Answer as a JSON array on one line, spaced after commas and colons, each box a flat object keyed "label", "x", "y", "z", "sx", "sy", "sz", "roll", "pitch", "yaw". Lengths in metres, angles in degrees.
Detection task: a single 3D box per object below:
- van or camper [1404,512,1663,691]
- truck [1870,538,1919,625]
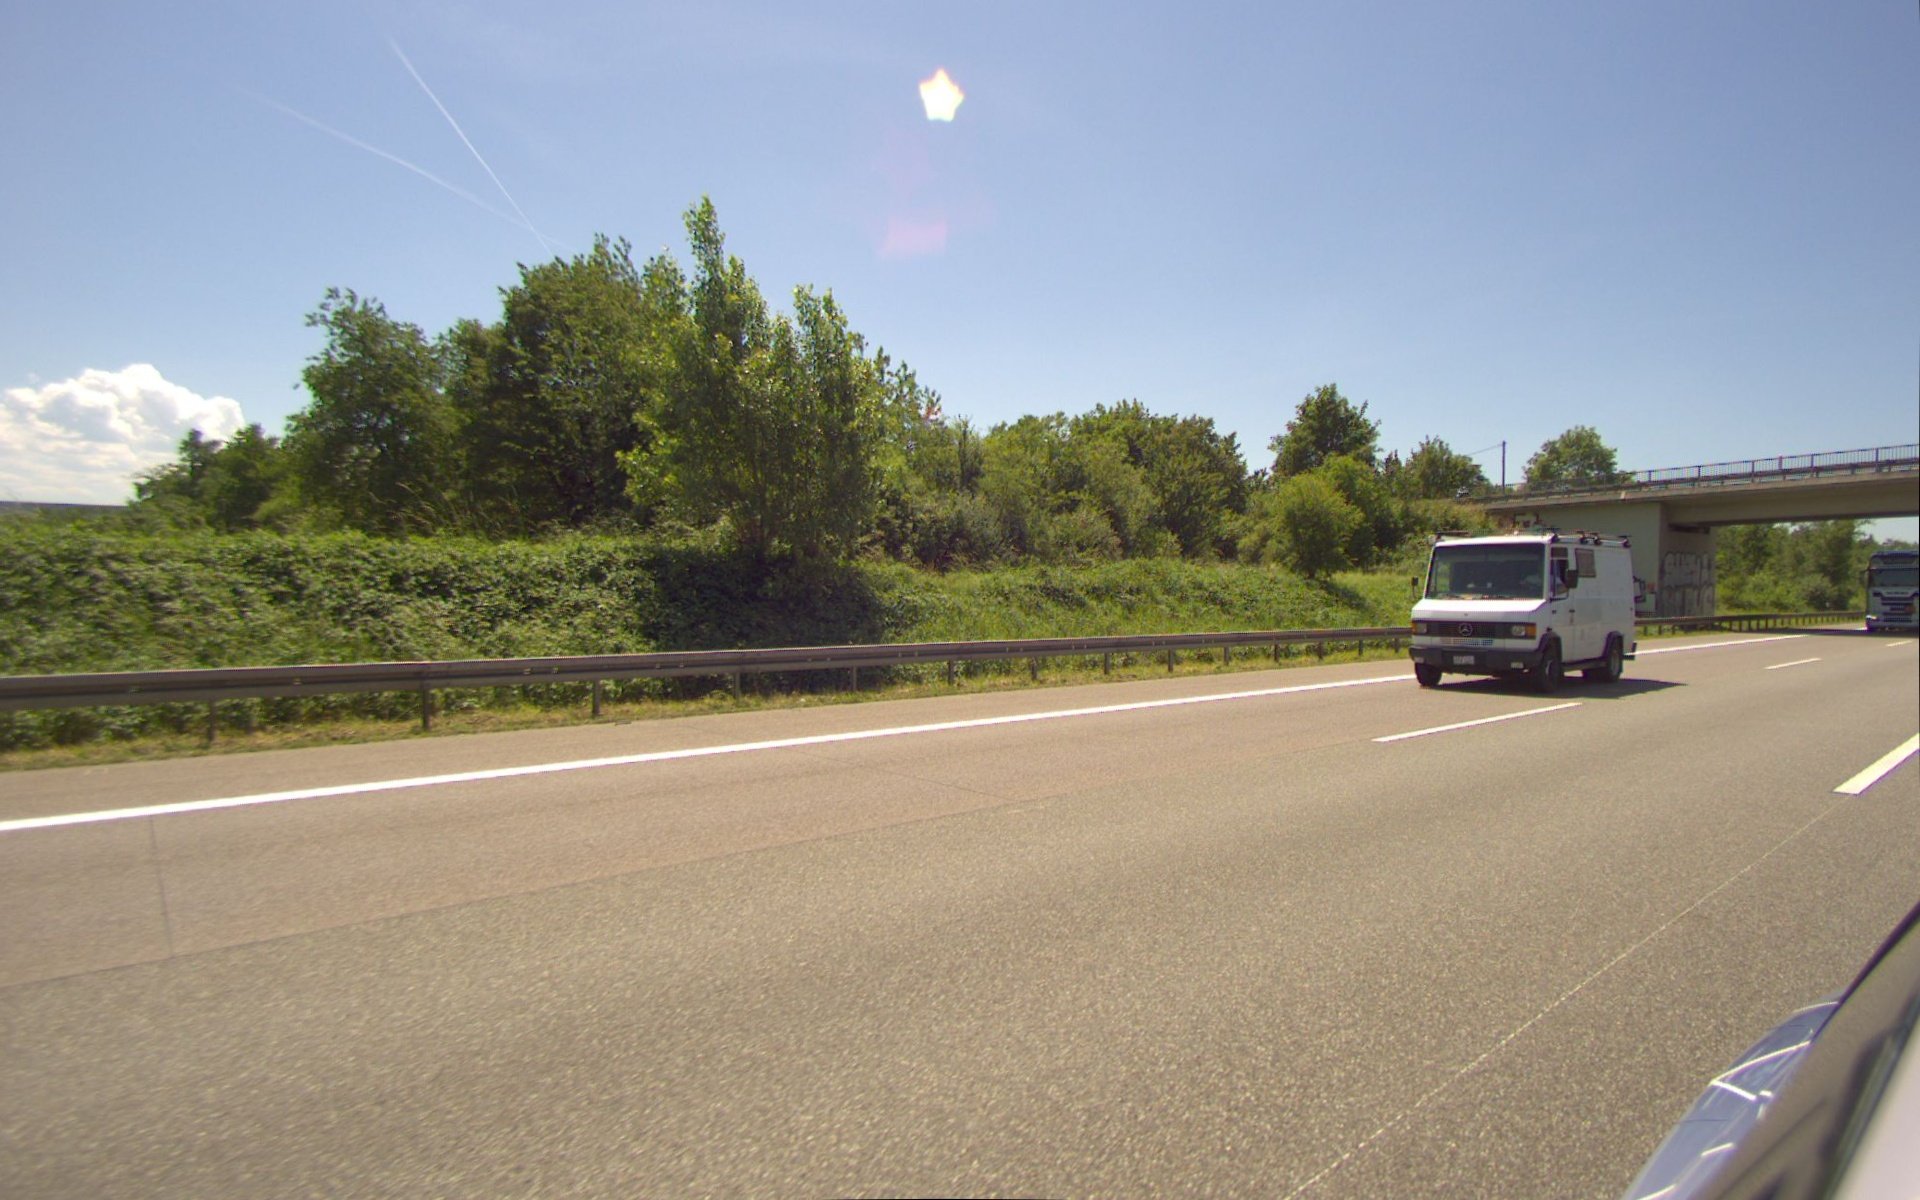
[{"label": "van or camper", "x": 10.532, "y": -0.002, "z": 18.299, "sx": 6.257, "sy": 2.737, "sz": 2.117, "roll": -1, "pitch": 0, "yaw": -41}, {"label": "truck", "x": 49.881, "y": -0.911, "z": 52.162, "sx": 13.122, "sy": 4.097, "sz": 2.803, "roll": -1, "pitch": -1, "yaw": -41}]
